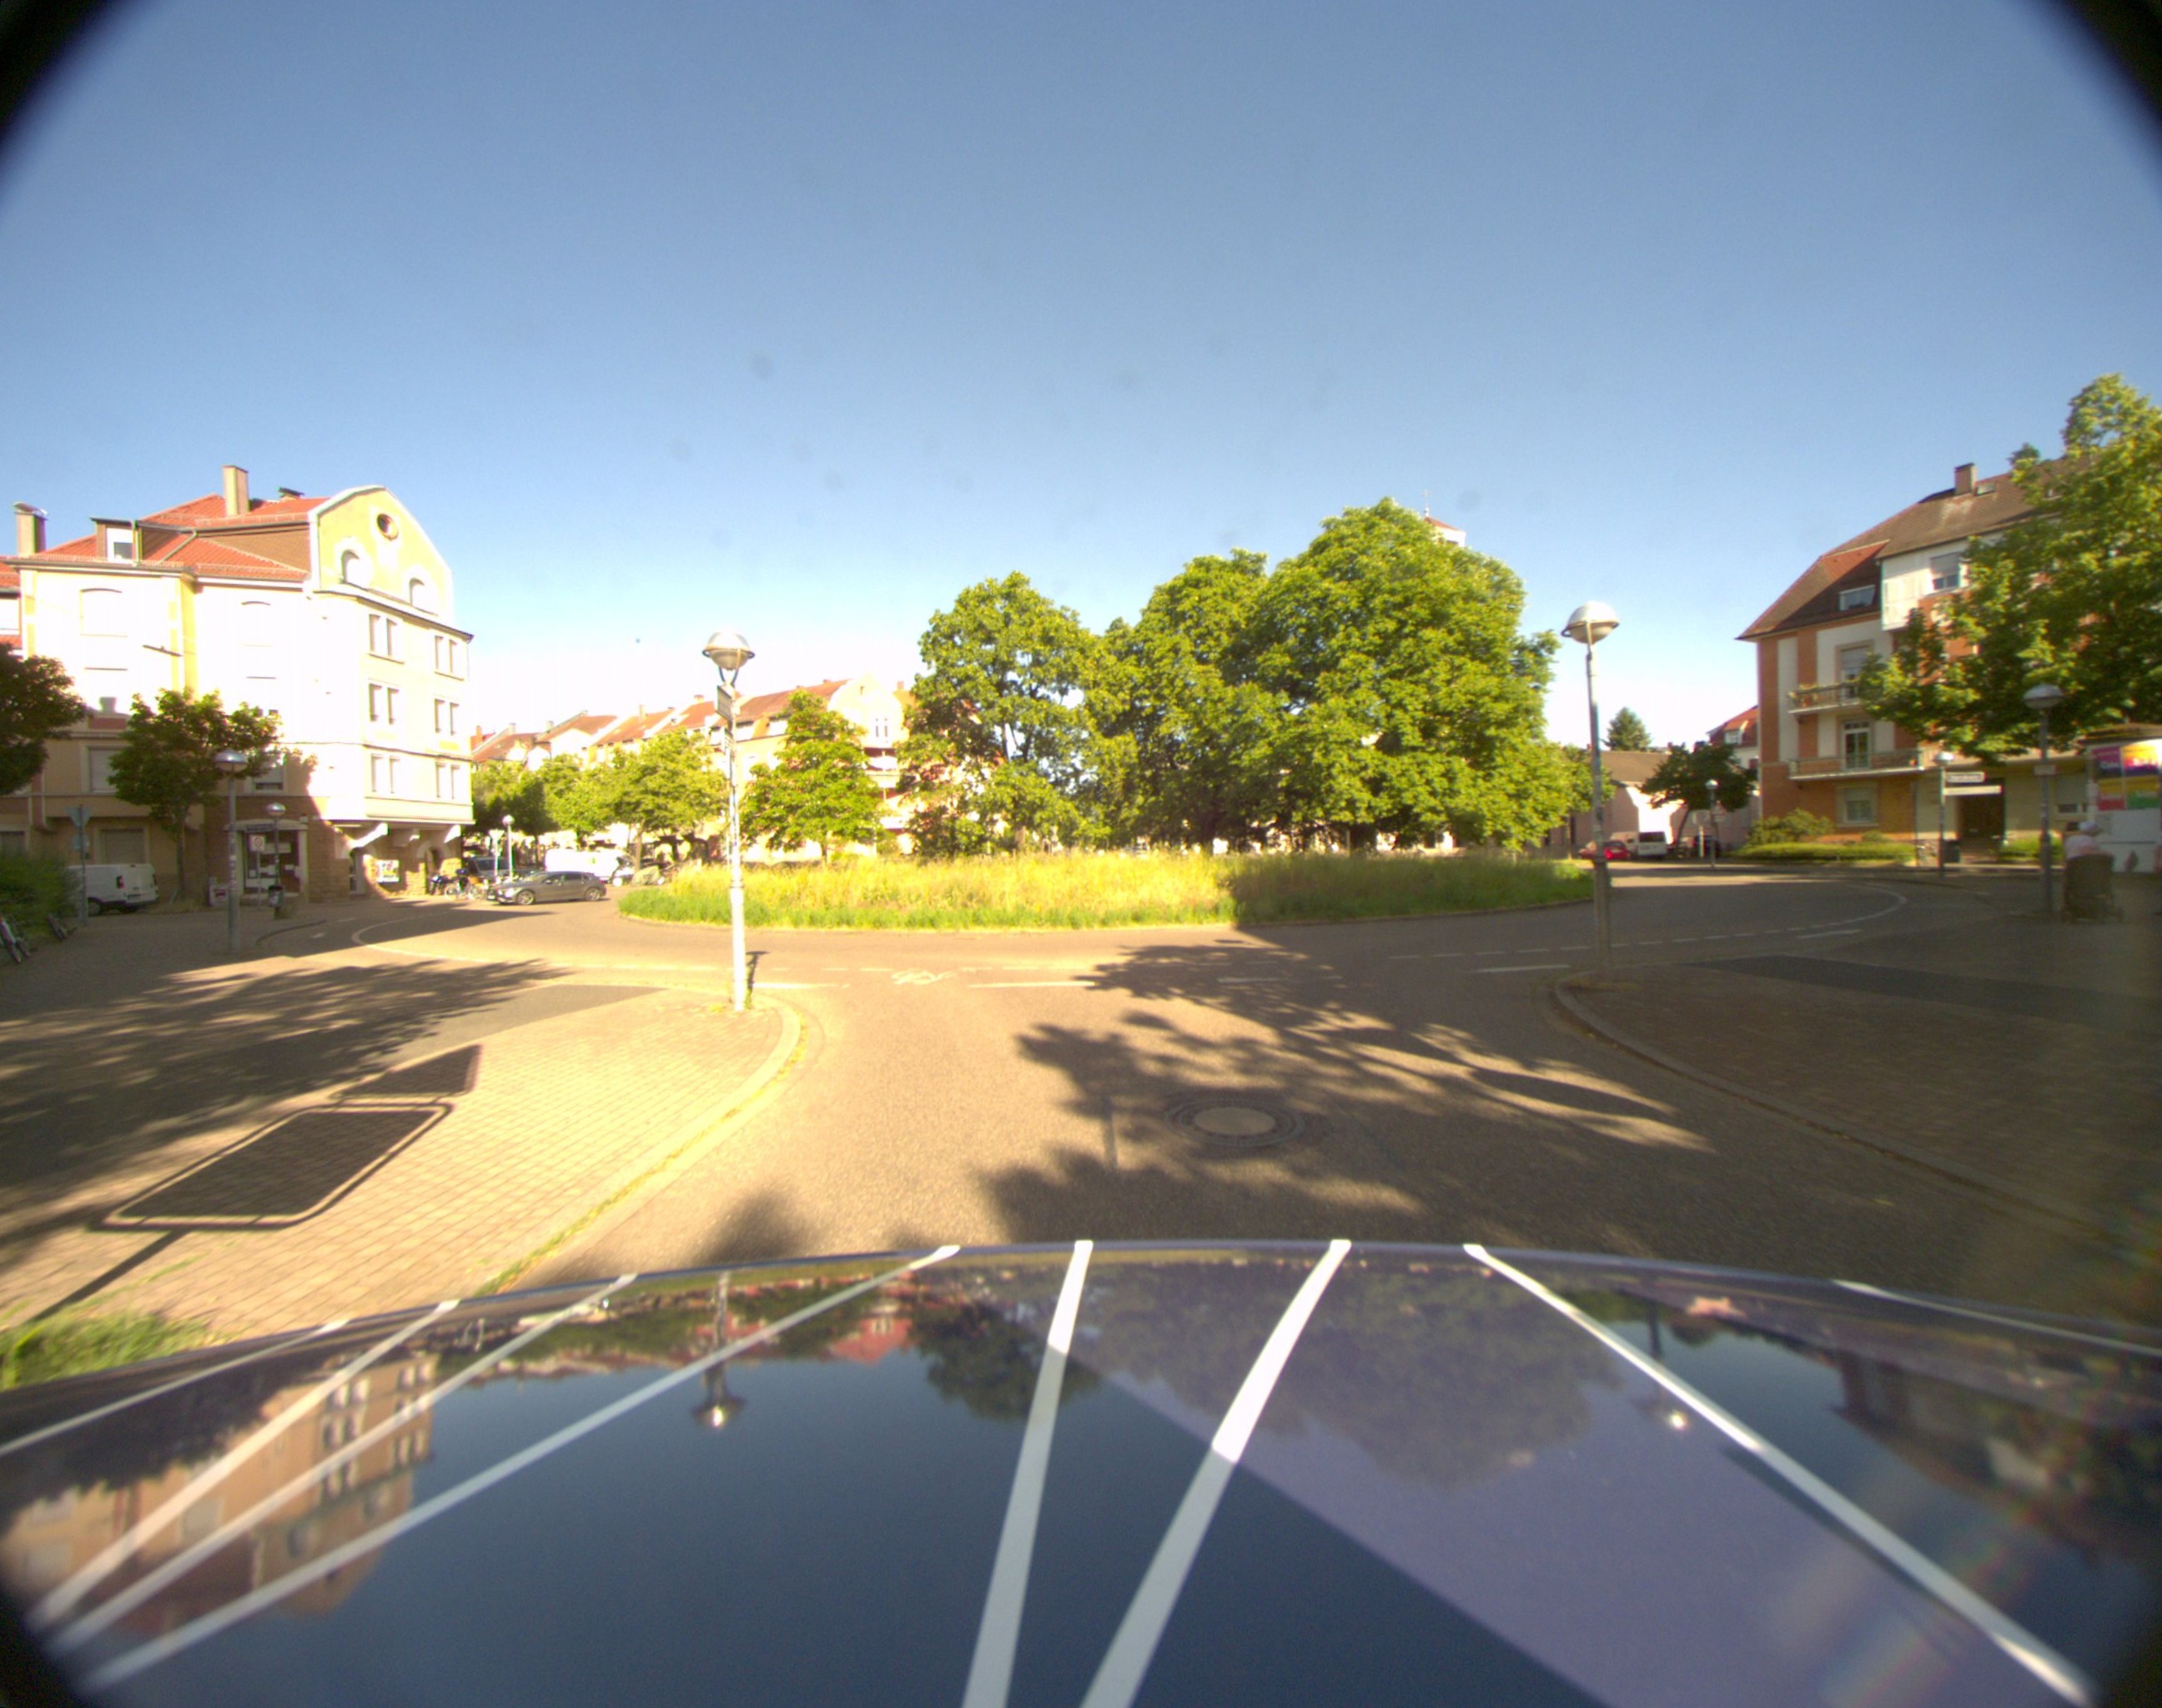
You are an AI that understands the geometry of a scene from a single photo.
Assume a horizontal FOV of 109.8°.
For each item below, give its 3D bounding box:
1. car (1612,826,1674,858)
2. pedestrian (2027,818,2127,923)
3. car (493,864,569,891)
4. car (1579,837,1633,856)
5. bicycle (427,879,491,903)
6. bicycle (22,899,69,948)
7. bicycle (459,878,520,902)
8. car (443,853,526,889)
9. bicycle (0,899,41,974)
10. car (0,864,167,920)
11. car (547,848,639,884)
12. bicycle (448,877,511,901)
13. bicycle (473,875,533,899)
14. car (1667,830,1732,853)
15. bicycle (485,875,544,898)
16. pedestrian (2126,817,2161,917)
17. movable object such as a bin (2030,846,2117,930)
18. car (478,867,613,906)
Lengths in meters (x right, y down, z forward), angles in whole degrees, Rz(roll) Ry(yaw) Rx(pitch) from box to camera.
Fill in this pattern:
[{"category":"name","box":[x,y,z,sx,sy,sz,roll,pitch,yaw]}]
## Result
[{"category":"car","box":[37.484,-0.783,50.806,1.996,2.002,4.004,-1,1,15]},{"category":"pedestrian","box":[15.715,0.257,12.009,0.696,1.606,0.665,-1,1,3]},{"category":"car","box":[-32.046,1.361,44.285,3.990,1.434,2.003,-1,1,28]},{"category":"car","box":[34.731,-0.503,50.387,1.766,1.171,4.004,-1,0,16]},{"category":"bicycle","box":[-27.942,1.660,34.150,2.365,1.046,0.654,-1,-2,1]},{"category":"bicycle","box":[-22.778,1.513,16.726,0.378,0.989,1.387,-2,1,-45]},{"category":"bicycle","box":[-27.850,1.692,35.792,2.365,1.009,0.654,-1,0,1]},{"category":"car","box":[-36.698,1.033,46.720,4.788,2.107,2.258,-1,1,29]},{"category":"bicycle","box":[-17.800,1.344,12.631,1.665,1.147,0.437,-1,-1,42]},{"category":"car","box":[-38.878,1.432,29.147,4.453,1.930,1.894,-2,1,-21]},{"category":"car","box":[-34.929,0.830,54.570,5.198,2.348,2.034,-2,1,-20]},{"category":"bicycle","box":[-27.755,1.605,35.078,2.365,1.046,0.654,-1,1,1]},{"category":"bicycle","box":[-27.798,1.578,36.528,2.365,1.046,0.654,-1,0,1]},{"category":"car","box":[43.120,-0.865,53.076,1.741,1.472,4.003,-1,1,10]},{"category":"bicycle","box":[-27.750,1.579,37.232,2.365,1.046,0.654,-1,1,1]},{"category":"pedestrian","box":[17.649,0.201,12.178,0.758,1.606,0.747,-1,1,0]},{"category":"movable object such as a bin","box":[15.070,0.494,11.540,0.846,1.189,0.767,-2,1,-35]},{"category":"car","box":[-23.276,1.400,33.209,1.844,1.399,4.415,-3,0,29]}]
